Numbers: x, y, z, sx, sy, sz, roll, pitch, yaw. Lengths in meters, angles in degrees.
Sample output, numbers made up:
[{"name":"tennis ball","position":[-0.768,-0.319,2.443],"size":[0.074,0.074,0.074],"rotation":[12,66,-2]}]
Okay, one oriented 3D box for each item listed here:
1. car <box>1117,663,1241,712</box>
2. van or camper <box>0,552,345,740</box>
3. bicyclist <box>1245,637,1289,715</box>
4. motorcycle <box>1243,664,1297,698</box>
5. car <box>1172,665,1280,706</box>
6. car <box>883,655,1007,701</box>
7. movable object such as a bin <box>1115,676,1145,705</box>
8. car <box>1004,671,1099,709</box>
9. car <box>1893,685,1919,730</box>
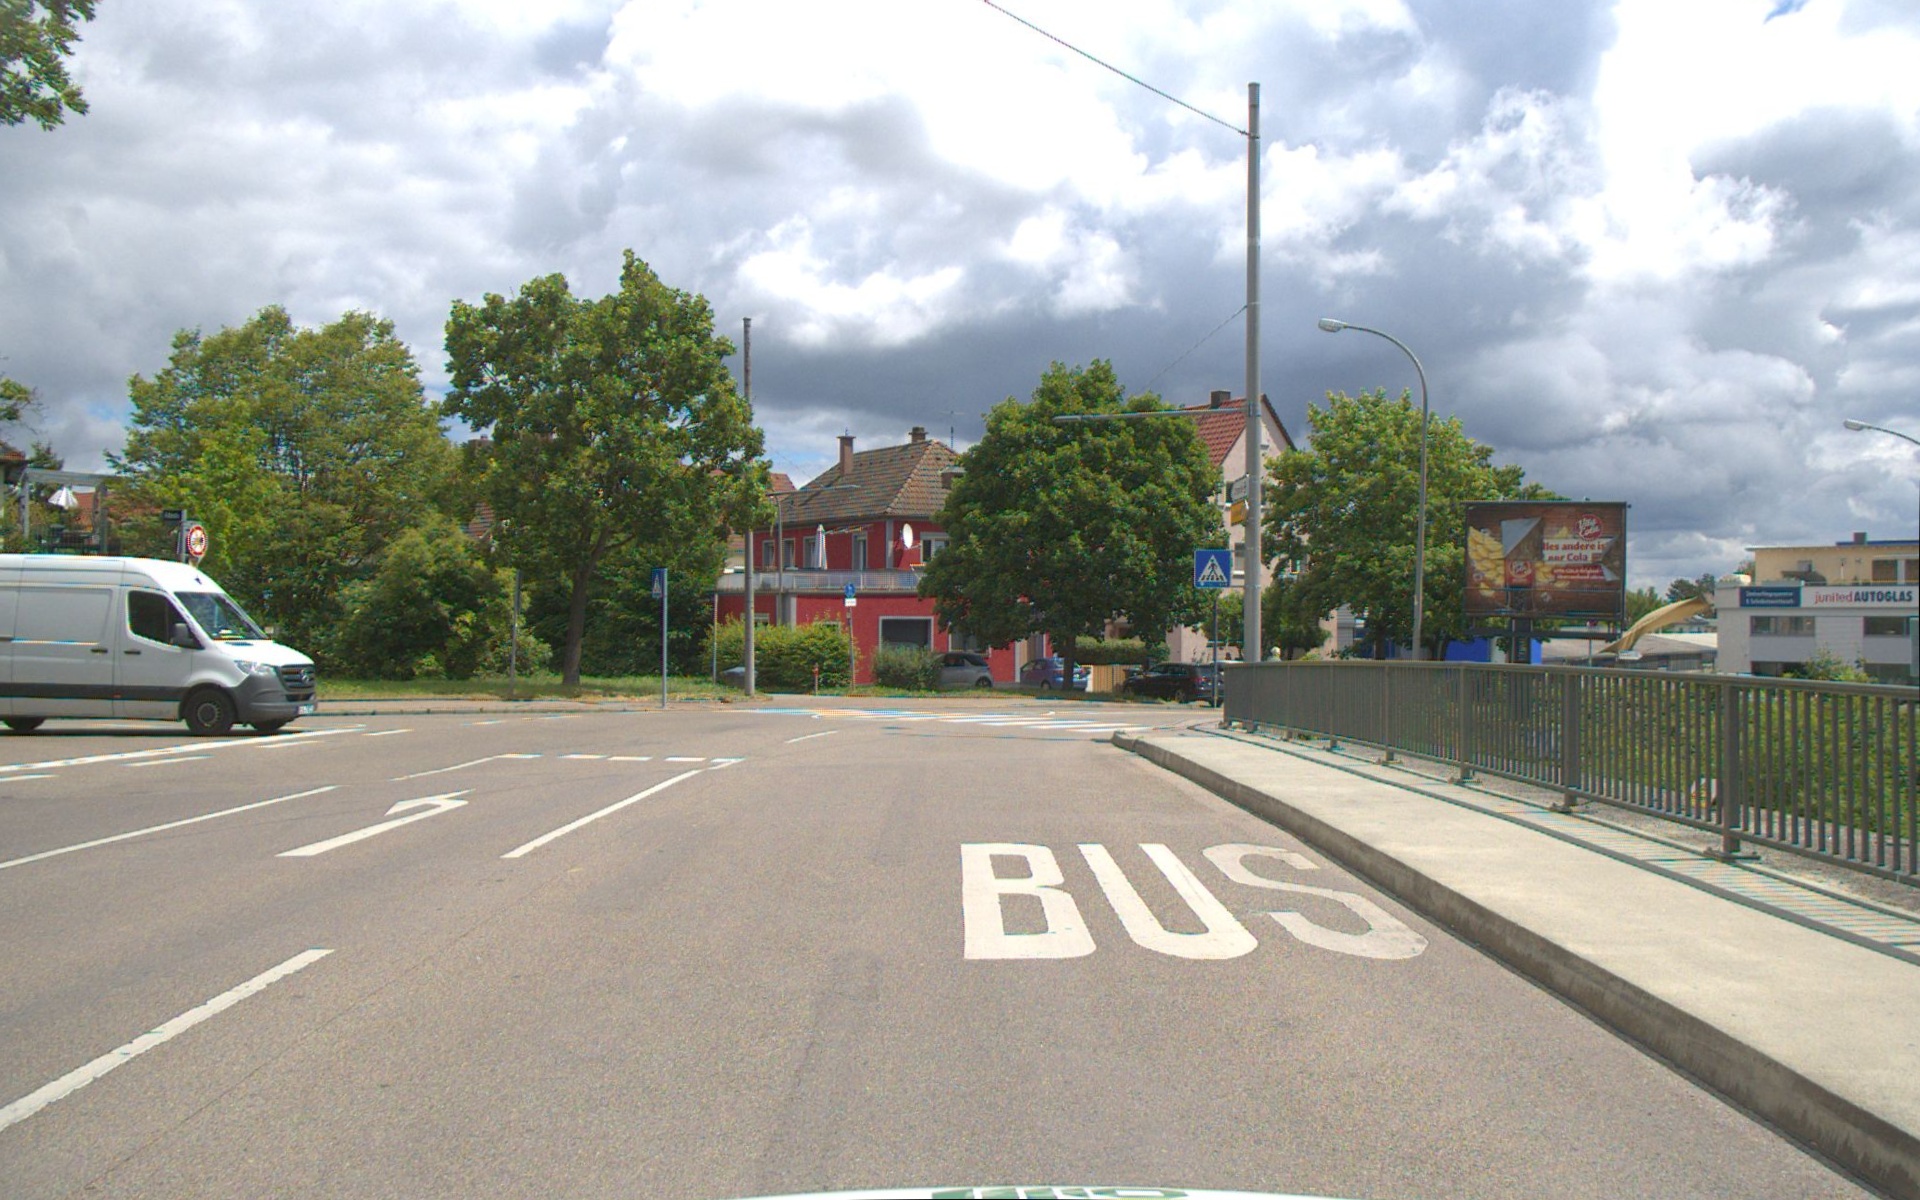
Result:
[{"name":"car","position":[7.274,2.904,55.318],"size":[1.974,1.418,4.099],"rotation":[3,-2,-32]},{"name":"van or camper","position":[-12.510,0.728,24.745],"size":[5.786,2.612,2.194],"rotation":[-1,-3,1]},{"name":"bicyclist","position":[7.566,1.885,40.777],"size":[0.673,1.858,1.076],"rotation":[-2,-6,36]},{"name":"motorcycle","position":[12.934,3.392,68.960],"size":[2.209,1.339,0.909],"rotation":[4,-2,-34]},{"name":"car","position":[10.002,3.223,62.441],"size":[1.855,1.429,3.882],"rotation":[3,-3,-35]},{"name":"car","position":[-0.492,2.681,56.948],"size":[4.027,1.450,1.626],"rotation":[3,-2,-34]},{"name":"movable object such as a bin","position":[6.675,3.548,64.806],"size":[0.868,1.080,0.751],"rotation":[3,-2,-29]},{"name":"car","position":[3.469,3.438,63.443],"size":[1.819,1.402,3.772],"rotation":[2,-3,-32]},{"name":"car","position":[34.601,3.803,58.031],"size":[3.910,1.505,1.691],"rotation":[3,-2,-34]}]
